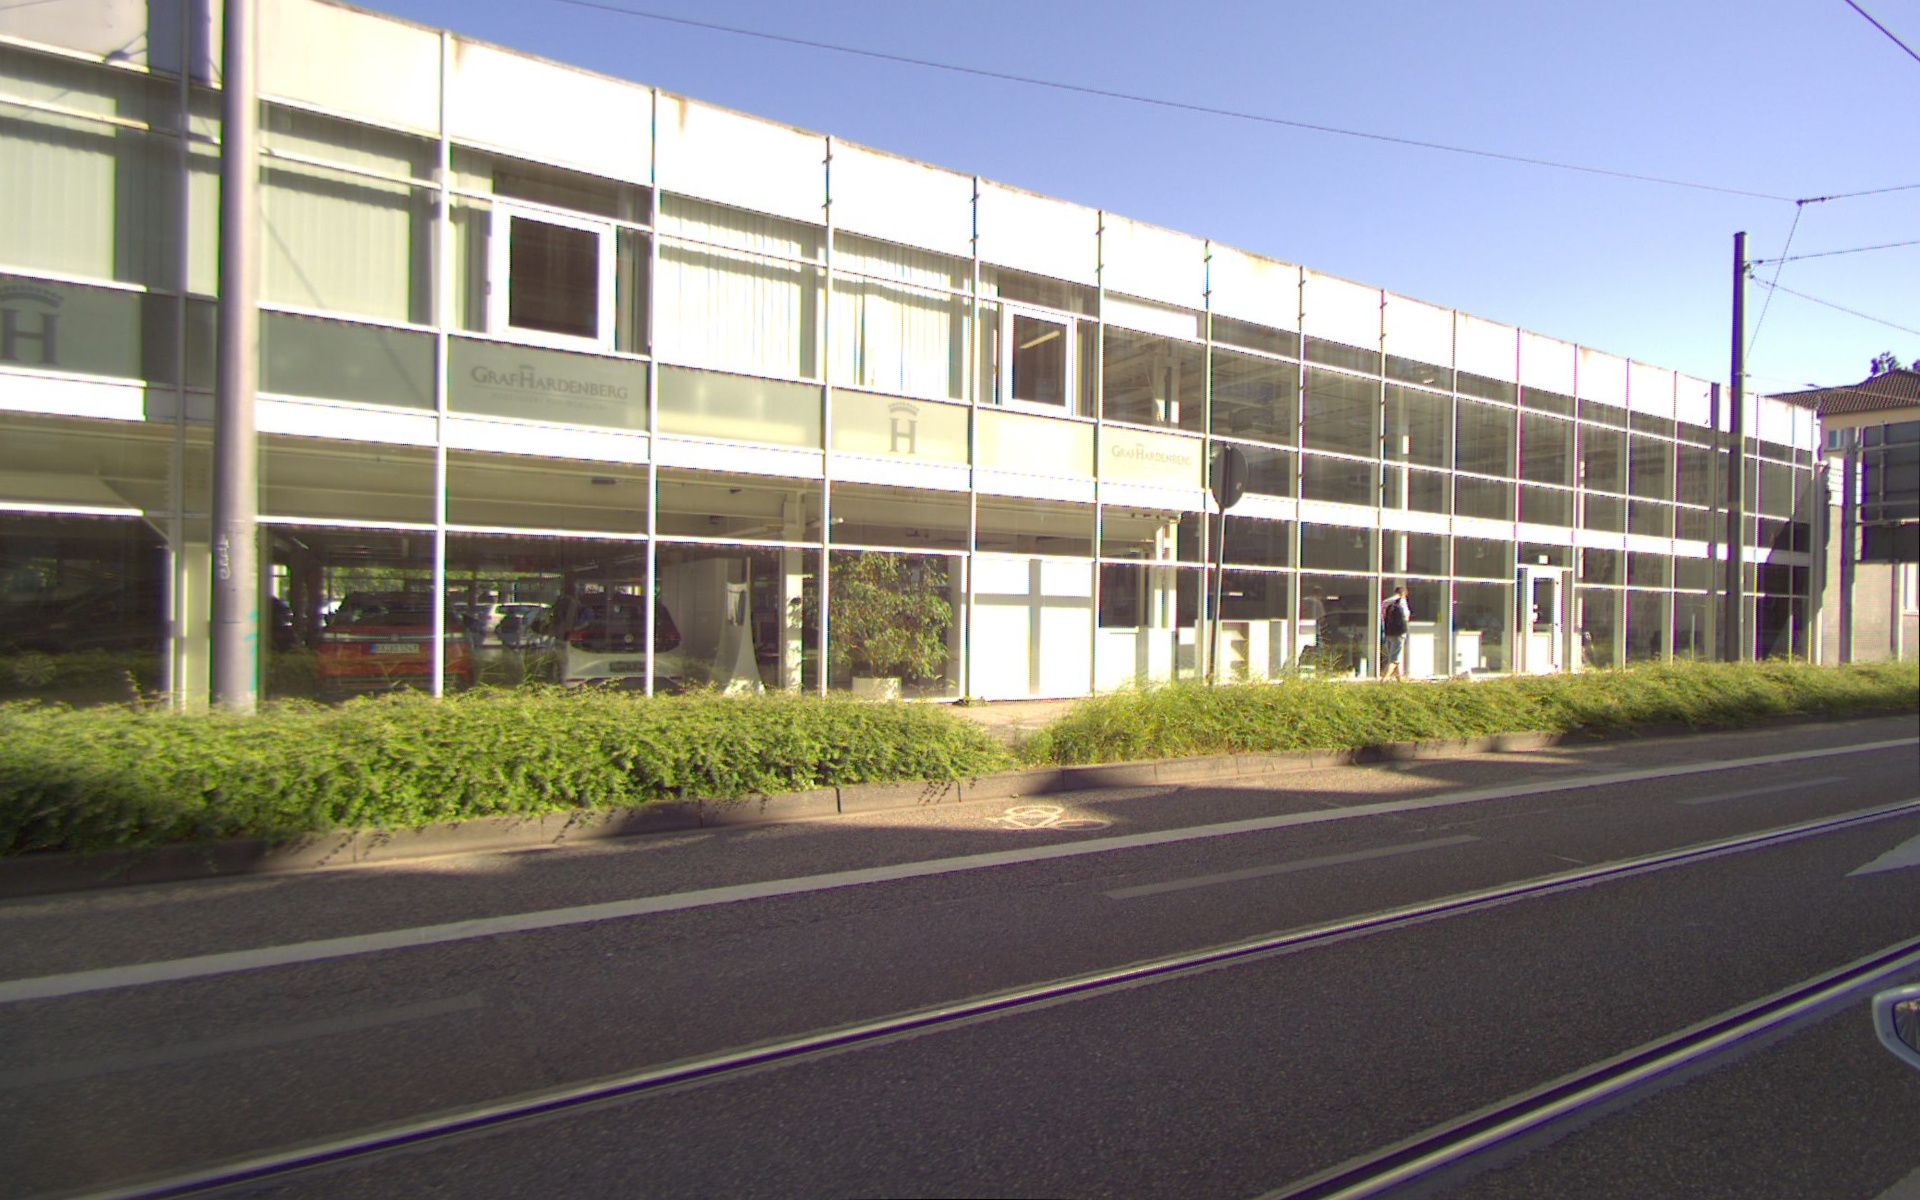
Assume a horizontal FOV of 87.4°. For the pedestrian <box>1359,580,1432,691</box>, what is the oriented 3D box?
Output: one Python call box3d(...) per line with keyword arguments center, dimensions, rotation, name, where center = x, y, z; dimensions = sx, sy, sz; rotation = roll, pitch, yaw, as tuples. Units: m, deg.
box3d(center=(7.260, 0.587, 16.744), dimensions=(1.039, 1.788, 0.524), rotation=(2, 1, -30), name="pedestrian")
